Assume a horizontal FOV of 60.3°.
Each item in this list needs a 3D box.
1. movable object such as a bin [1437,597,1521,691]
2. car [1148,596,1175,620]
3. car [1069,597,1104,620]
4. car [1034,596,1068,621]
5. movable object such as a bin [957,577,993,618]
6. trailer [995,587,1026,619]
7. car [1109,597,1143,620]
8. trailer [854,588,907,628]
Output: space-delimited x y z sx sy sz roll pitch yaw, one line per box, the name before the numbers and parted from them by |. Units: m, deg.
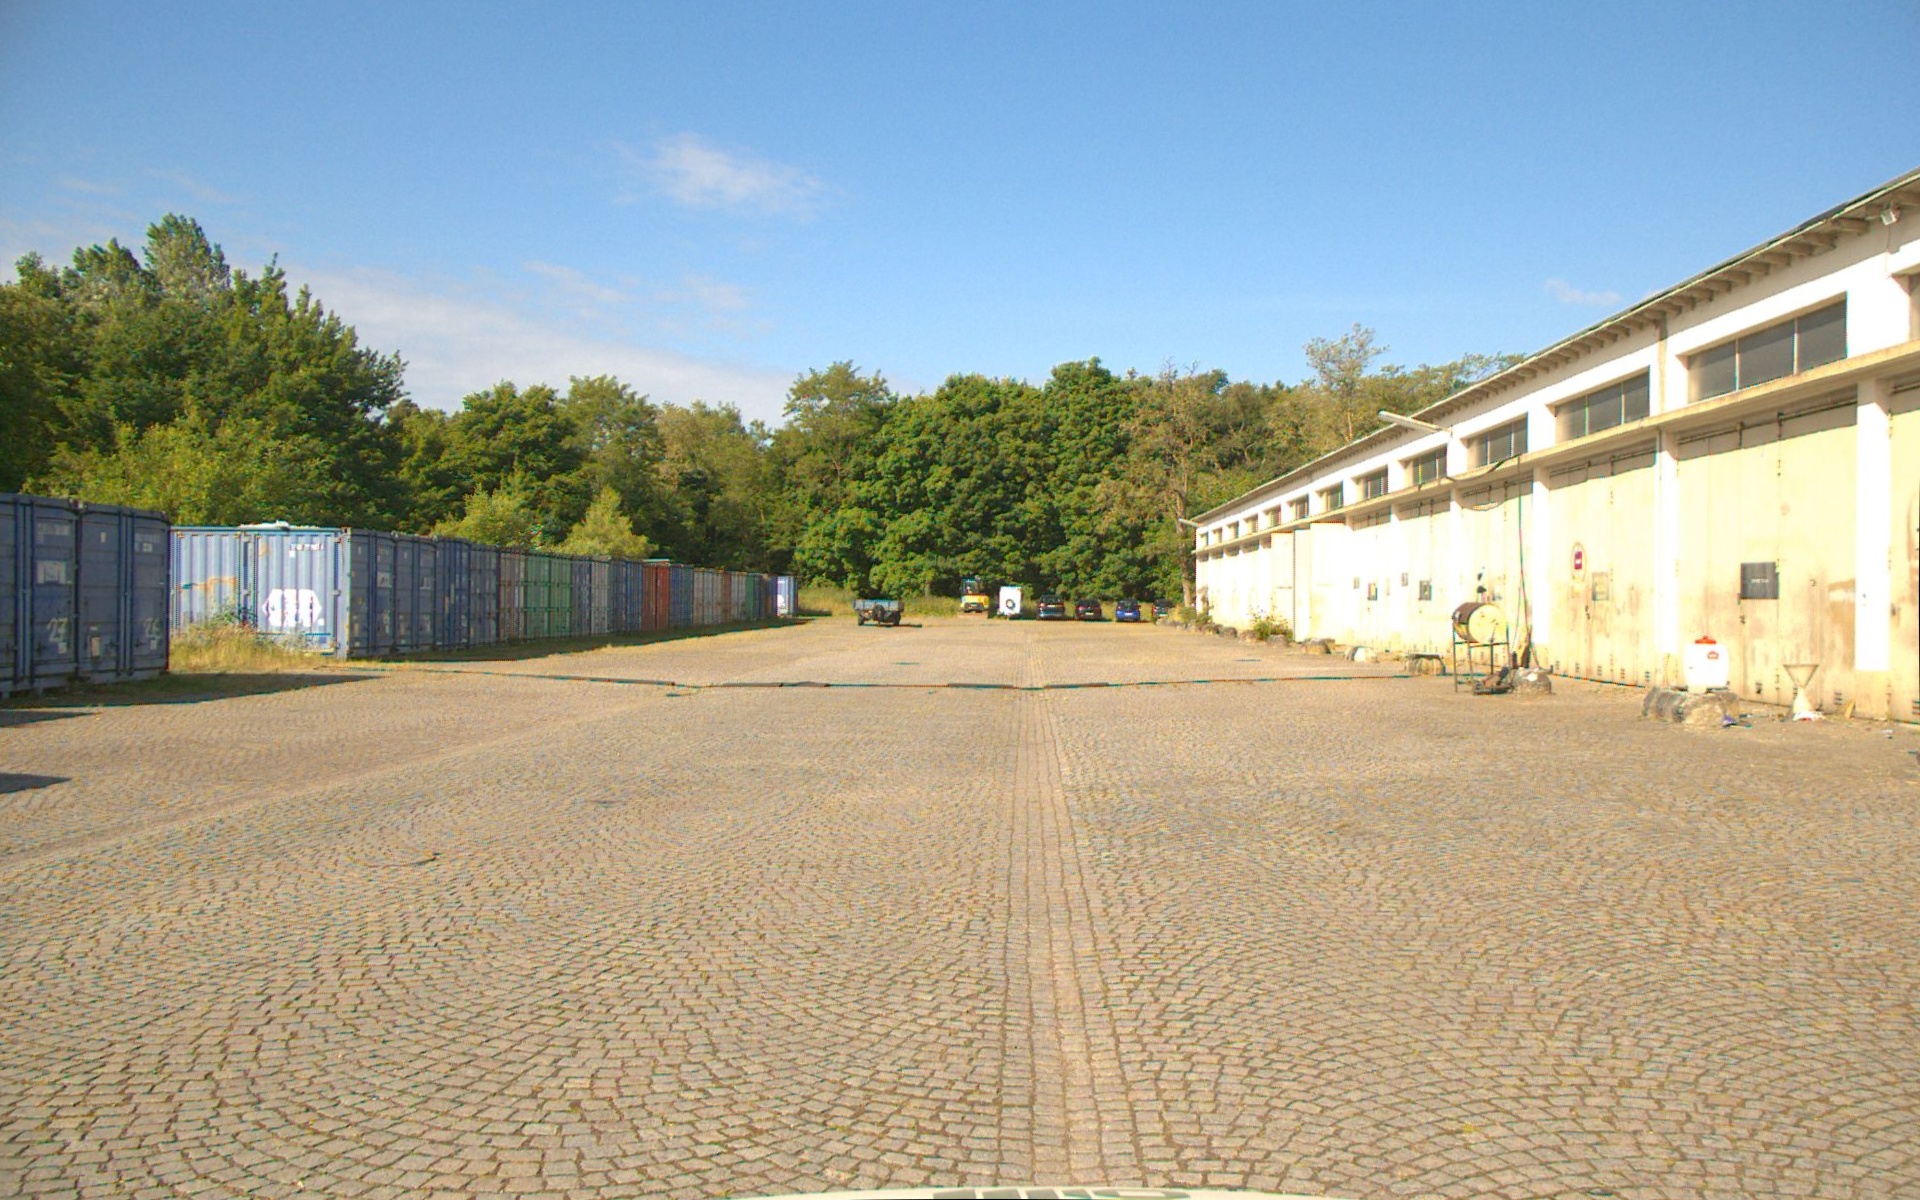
movable object such as a bin | 7.737 0.640 24.724 0.807 1.355 1.279 0 0 -3
car | 13.365 0.511 109.565 1.649 1.591 4.003 0 0 9
car | 8.324 0.526 108.381 1.951 1.488 4.003 0 0 9
car | 5.959 0.518 108.268 1.821 1.613 4.003 0 0 9
movable object such as a bin | 1.011 -0.168 110.415 1.951 2.664 4.003 2 0 6
trailer | 3.354 0.202 110.056 1.755 2.126 3.974 0 0 6
car | 10.901 0.560 108.293 1.951 1.445 4.003 0 0 9
trailer | -4.348 0.433 91.167 2.356 2.049 4.175 2 0 4
